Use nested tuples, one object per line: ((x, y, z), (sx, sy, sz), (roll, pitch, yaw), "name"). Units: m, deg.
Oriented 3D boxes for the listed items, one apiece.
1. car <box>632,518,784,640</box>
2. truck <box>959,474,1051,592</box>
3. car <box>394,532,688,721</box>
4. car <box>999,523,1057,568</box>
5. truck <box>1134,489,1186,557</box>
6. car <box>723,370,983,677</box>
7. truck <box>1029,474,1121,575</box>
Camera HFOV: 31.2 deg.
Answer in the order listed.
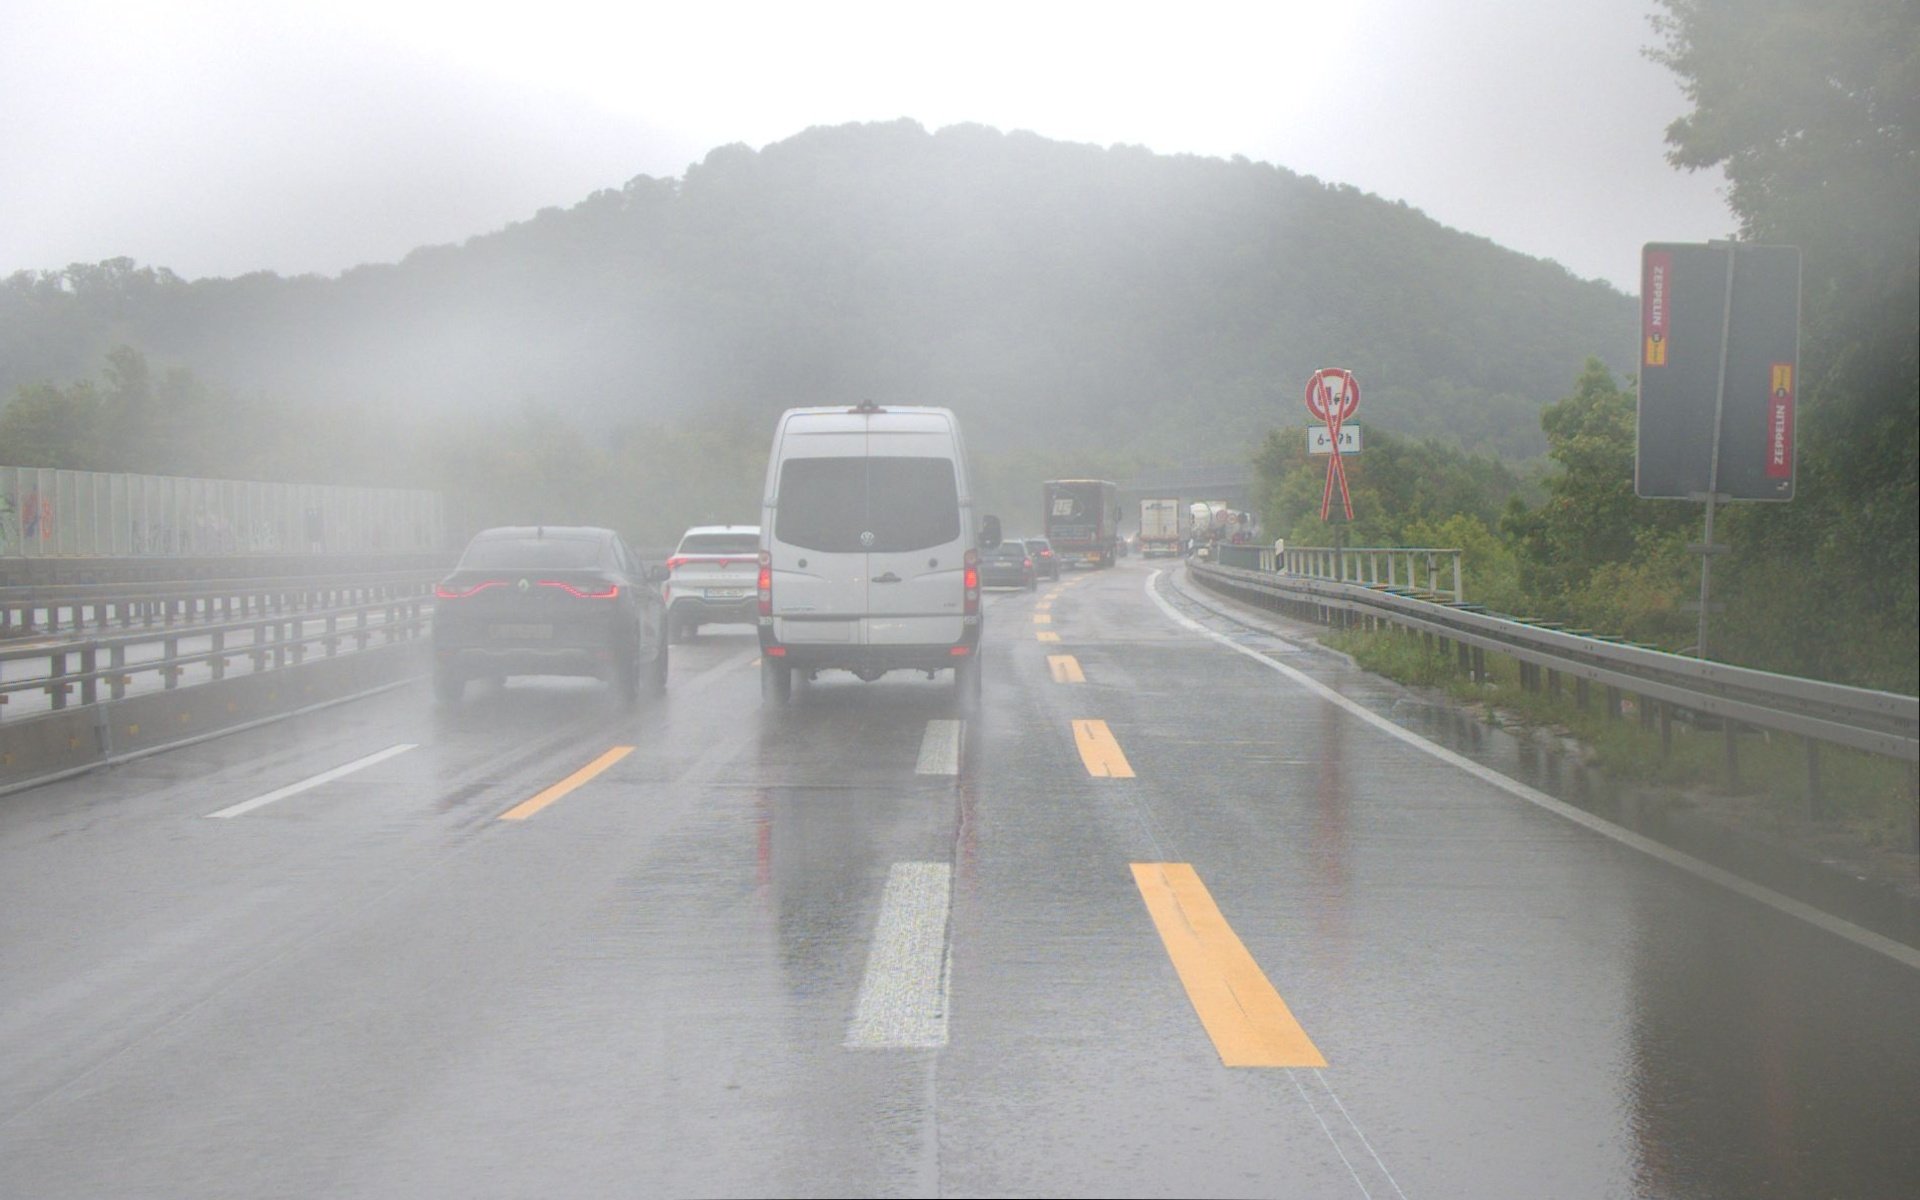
((-3.536, -0.311, 48.977), (1.993, 1.612, 4.797), (1, 1, -3), "car")
((1.313, -1.827, 96.073), (1.994, 3.098, 8.497), (1, 1, 4), "truck")
((-3.767, 0.201, 31.669), (1.994, 1.579, 4.413), (1, 1, 2), "car")
((2.313, -1.829, 115.717), (1.774, 1.470, 4.000), (1, 1, 4), "car")
((13.546, -5.138, 232.415), (3.037, 4.391, 9.622), (1, 1, 6), "truck")
((-0.926, -0.679, 31.807), (2.145, 2.562, 5.390), (1, 1, 0), "car")
((5.262, -3.376, 156.097), (3.582, 4.391, 9.622), (1, 1, 5), "truck")
